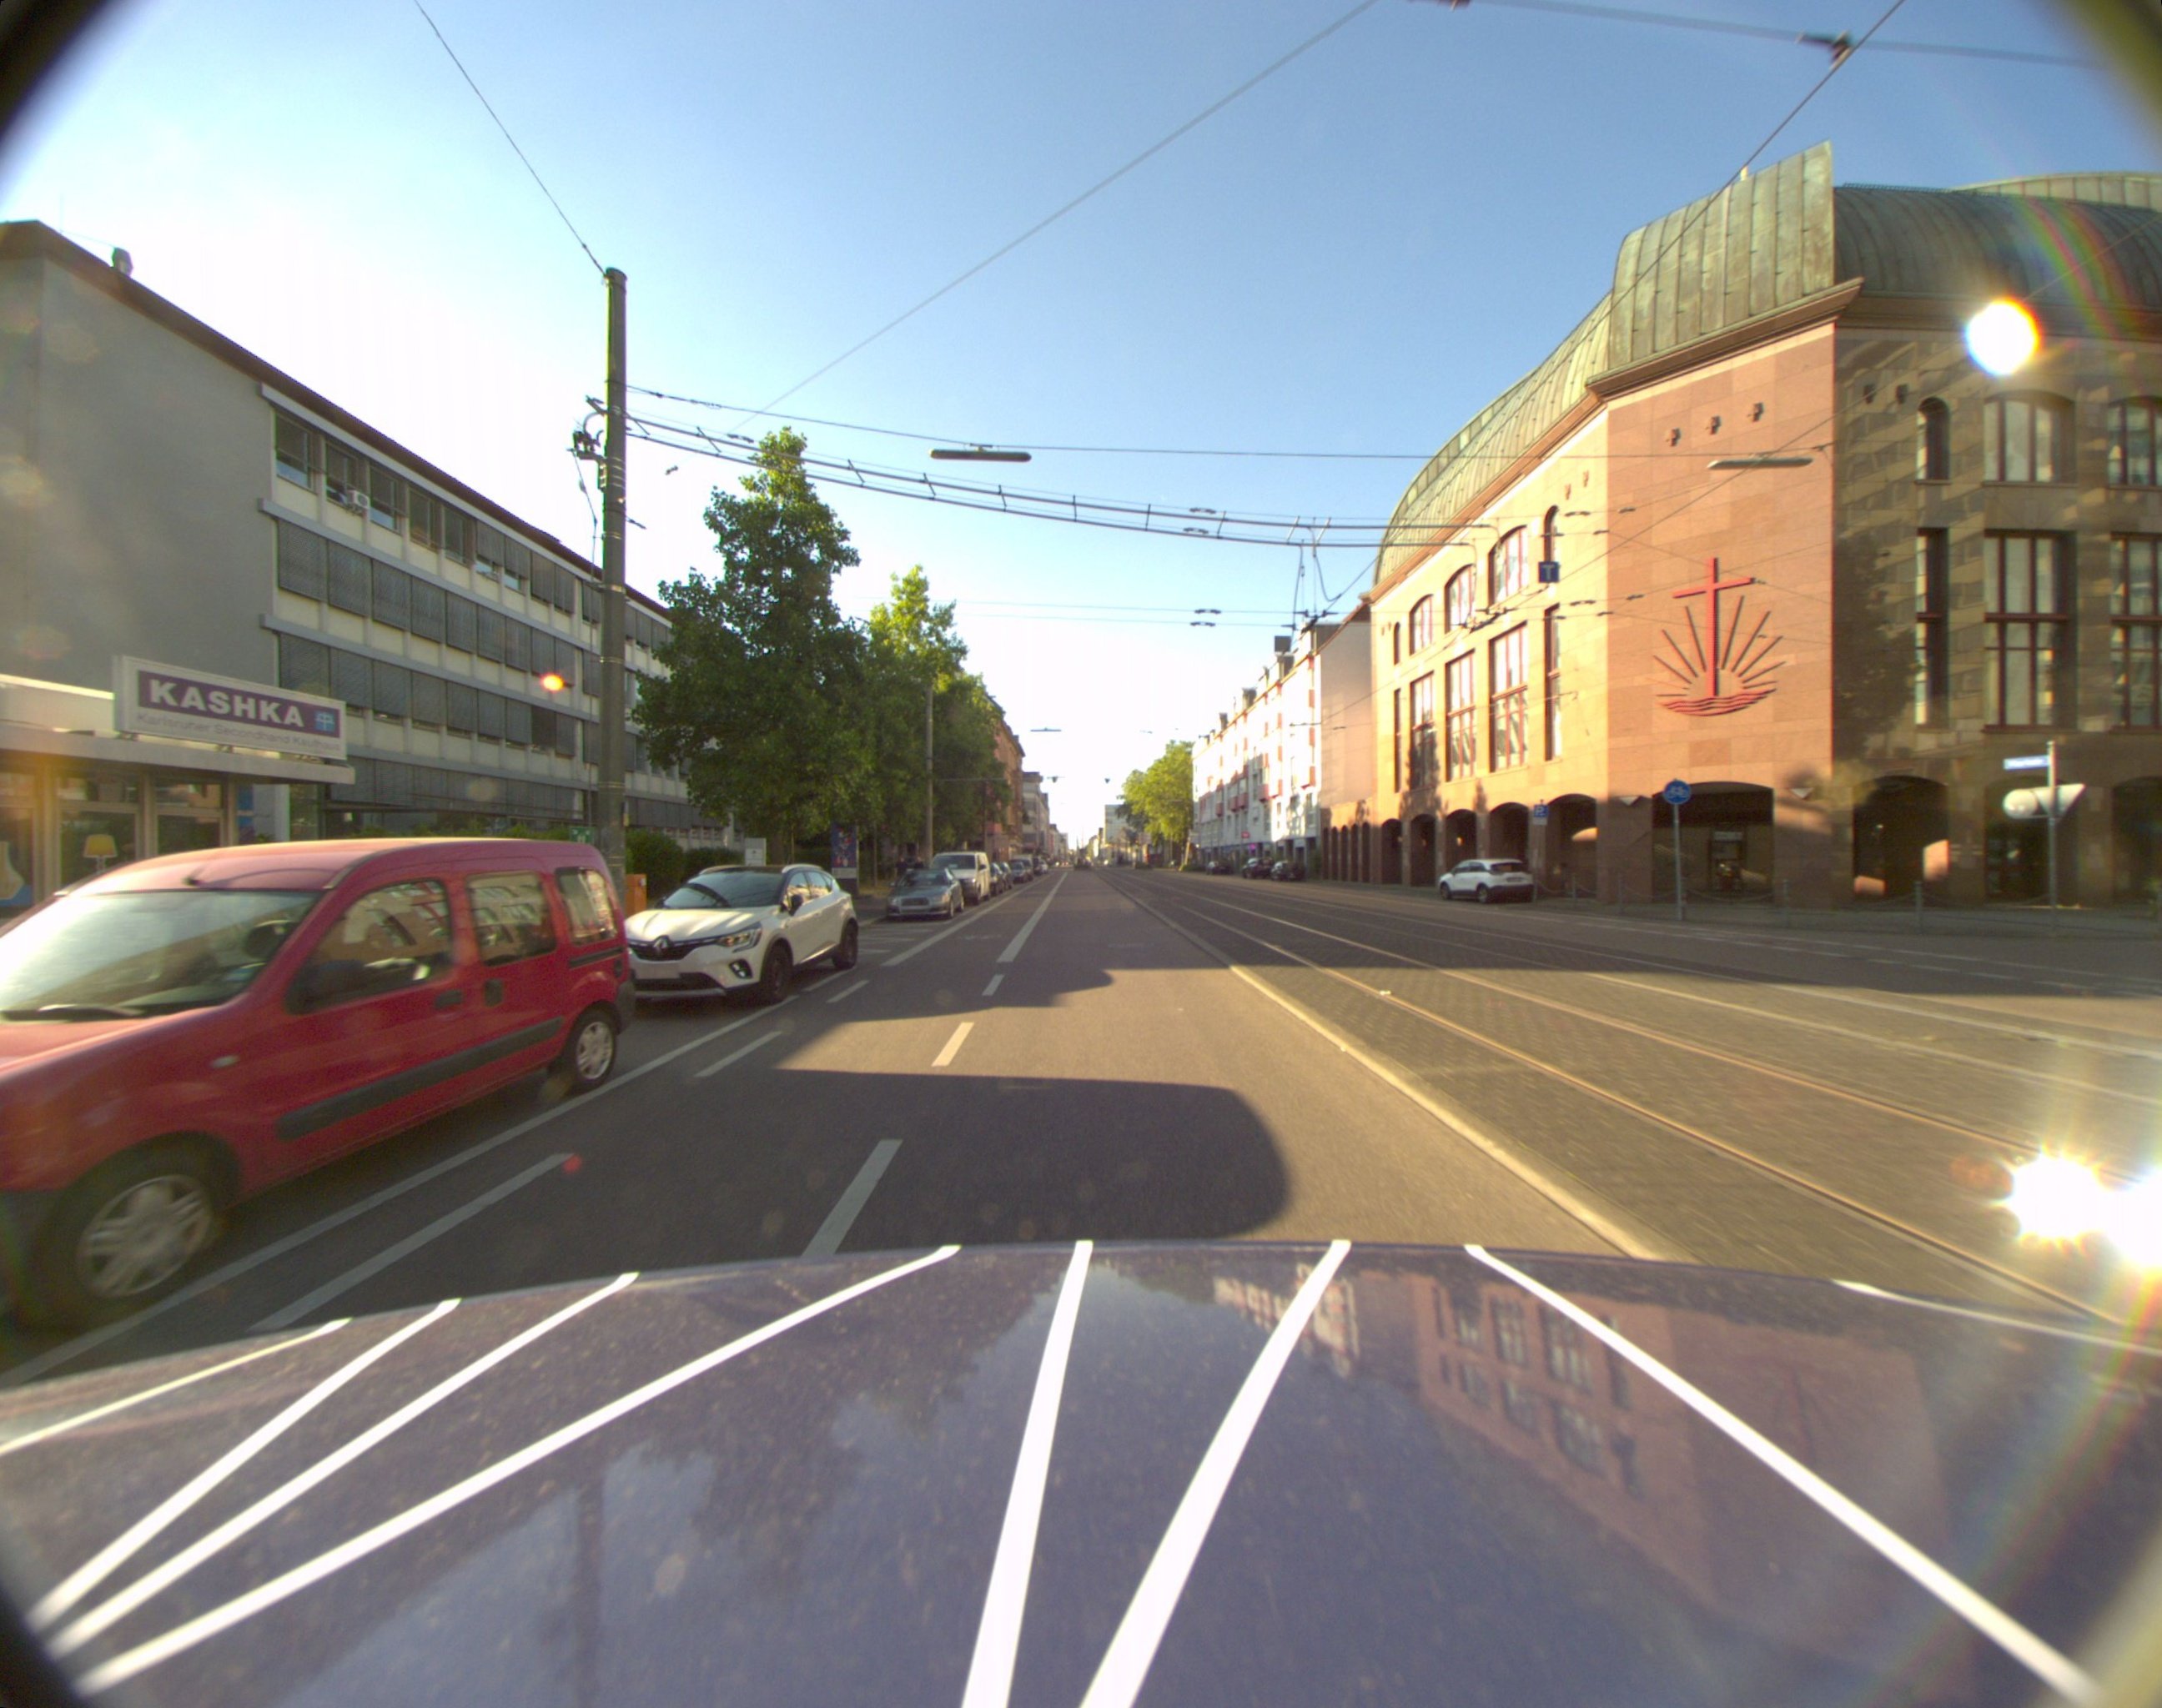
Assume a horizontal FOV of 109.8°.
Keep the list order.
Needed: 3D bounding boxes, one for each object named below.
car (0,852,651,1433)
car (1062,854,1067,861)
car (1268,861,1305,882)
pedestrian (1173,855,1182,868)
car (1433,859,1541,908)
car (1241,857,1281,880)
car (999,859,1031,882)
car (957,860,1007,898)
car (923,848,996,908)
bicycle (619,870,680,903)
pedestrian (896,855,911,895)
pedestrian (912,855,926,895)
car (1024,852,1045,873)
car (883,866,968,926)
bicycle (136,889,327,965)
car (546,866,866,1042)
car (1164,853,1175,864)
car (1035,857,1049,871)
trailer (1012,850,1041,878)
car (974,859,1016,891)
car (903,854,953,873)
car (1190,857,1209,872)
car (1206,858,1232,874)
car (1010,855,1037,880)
[{"bbox_3d":[-4.240,0.920,3.862,1.679,1.797,4.248,-2,0,-1],"label":"car"},{"bbox_3d":[-4.300,0.925,198.143,1.420,1.612,3.626,-2,0,-1],"label":"car"},{"bbox_3d":[14.952,1.247,55.416,1.646,1.392,3.683,-2,0,1],"label":"car"},{"bbox_3d":[13.027,1.044,102.488,1.096,1.768,1.253,0,1,4],"label":"pedestrian"},{"bbox_3d":[15.111,1.038,28.571,1.599,1.581,4.276,-3,0,-2],"label":"car"},{"bbox_3d":[14.647,1.164,62.030,1.964,1.690,4.560,-2,0,-2],"label":"car"},{"bbox_3d":[-4.503,1.119,52.169,1.784,1.420,4.212,-2,0,-1],"label":"car"},{"bbox_3d":[-4.450,1.108,34.675,1.687,1.484,3.911,-3,1,0],"label":"car"},{"bbox_3d":[-4.461,0.828,28.554,1.882,2.009,4.905,-2,0,0],"label":"car"},{"bbox_3d":[-13.485,1.015,23.785,1.622,0.954,0.367,-1,1,-29],"label":"bicycle"},{"bbox_3d":[-7.621,0.903,32.578,0.494,1.703,0.437,2,1,-1],"label":"pedestrian"},{"bbox_3d":[-6.947,0.906,32.584,0.494,1.703,0.437,2,1,-1],"label":"pedestrian"},{"bbox_3d":[-4.507,0.812,74.247,1.697,1.832,4.695,-2,1,-1],"label":"car"},{"bbox_3d":[-4.407,1.144,22.105,1.679,1.396,4.166,-3,1,-2],"label":"car"},{"bbox_3d":[-12.973,1.103,11.650,2.020,1.089,0.637,0,0,-7],"label":"bicycle"},{"bbox_3d":[-4.298,1.019,9.624,1.791,1.586,4.326,-2,0,1],"label":"car"},{"bbox_3d":[13.866,0.730,119.246,1.383,1.664,2.882,0,0,0],"label":"car"},{"bbox_3d":[-4.405,1.140,85.908,1.420,1.425,3.872,-2,0,-1],"label":"car"},{"bbox_3d":[-4.487,0.809,63.050,1.784,2.136,5.316,-2,0,2],"label":"trailer"},{"bbox_3d":[-4.418,1.054,39.575,1.597,1.485,3.902,-2,0,2],"label":"car"},{"bbox_3d":[-14.252,0.901,70.767,4.368,1.662,1.588,2,0,-4],"label":"car"},{"bbox_3d":[15.085,1.324,96.838,1.931,1.787,4.384,-1,0,3],"label":"car"},{"bbox_3d":[14.712,1.279,81.234,1.829,1.500,4.560,-2,0,0],"label":"car"},{"bbox_3d":[-4.374,1.004,58.178,1.784,1.735,4.474,-2,0,-1],"label":"car"}]
